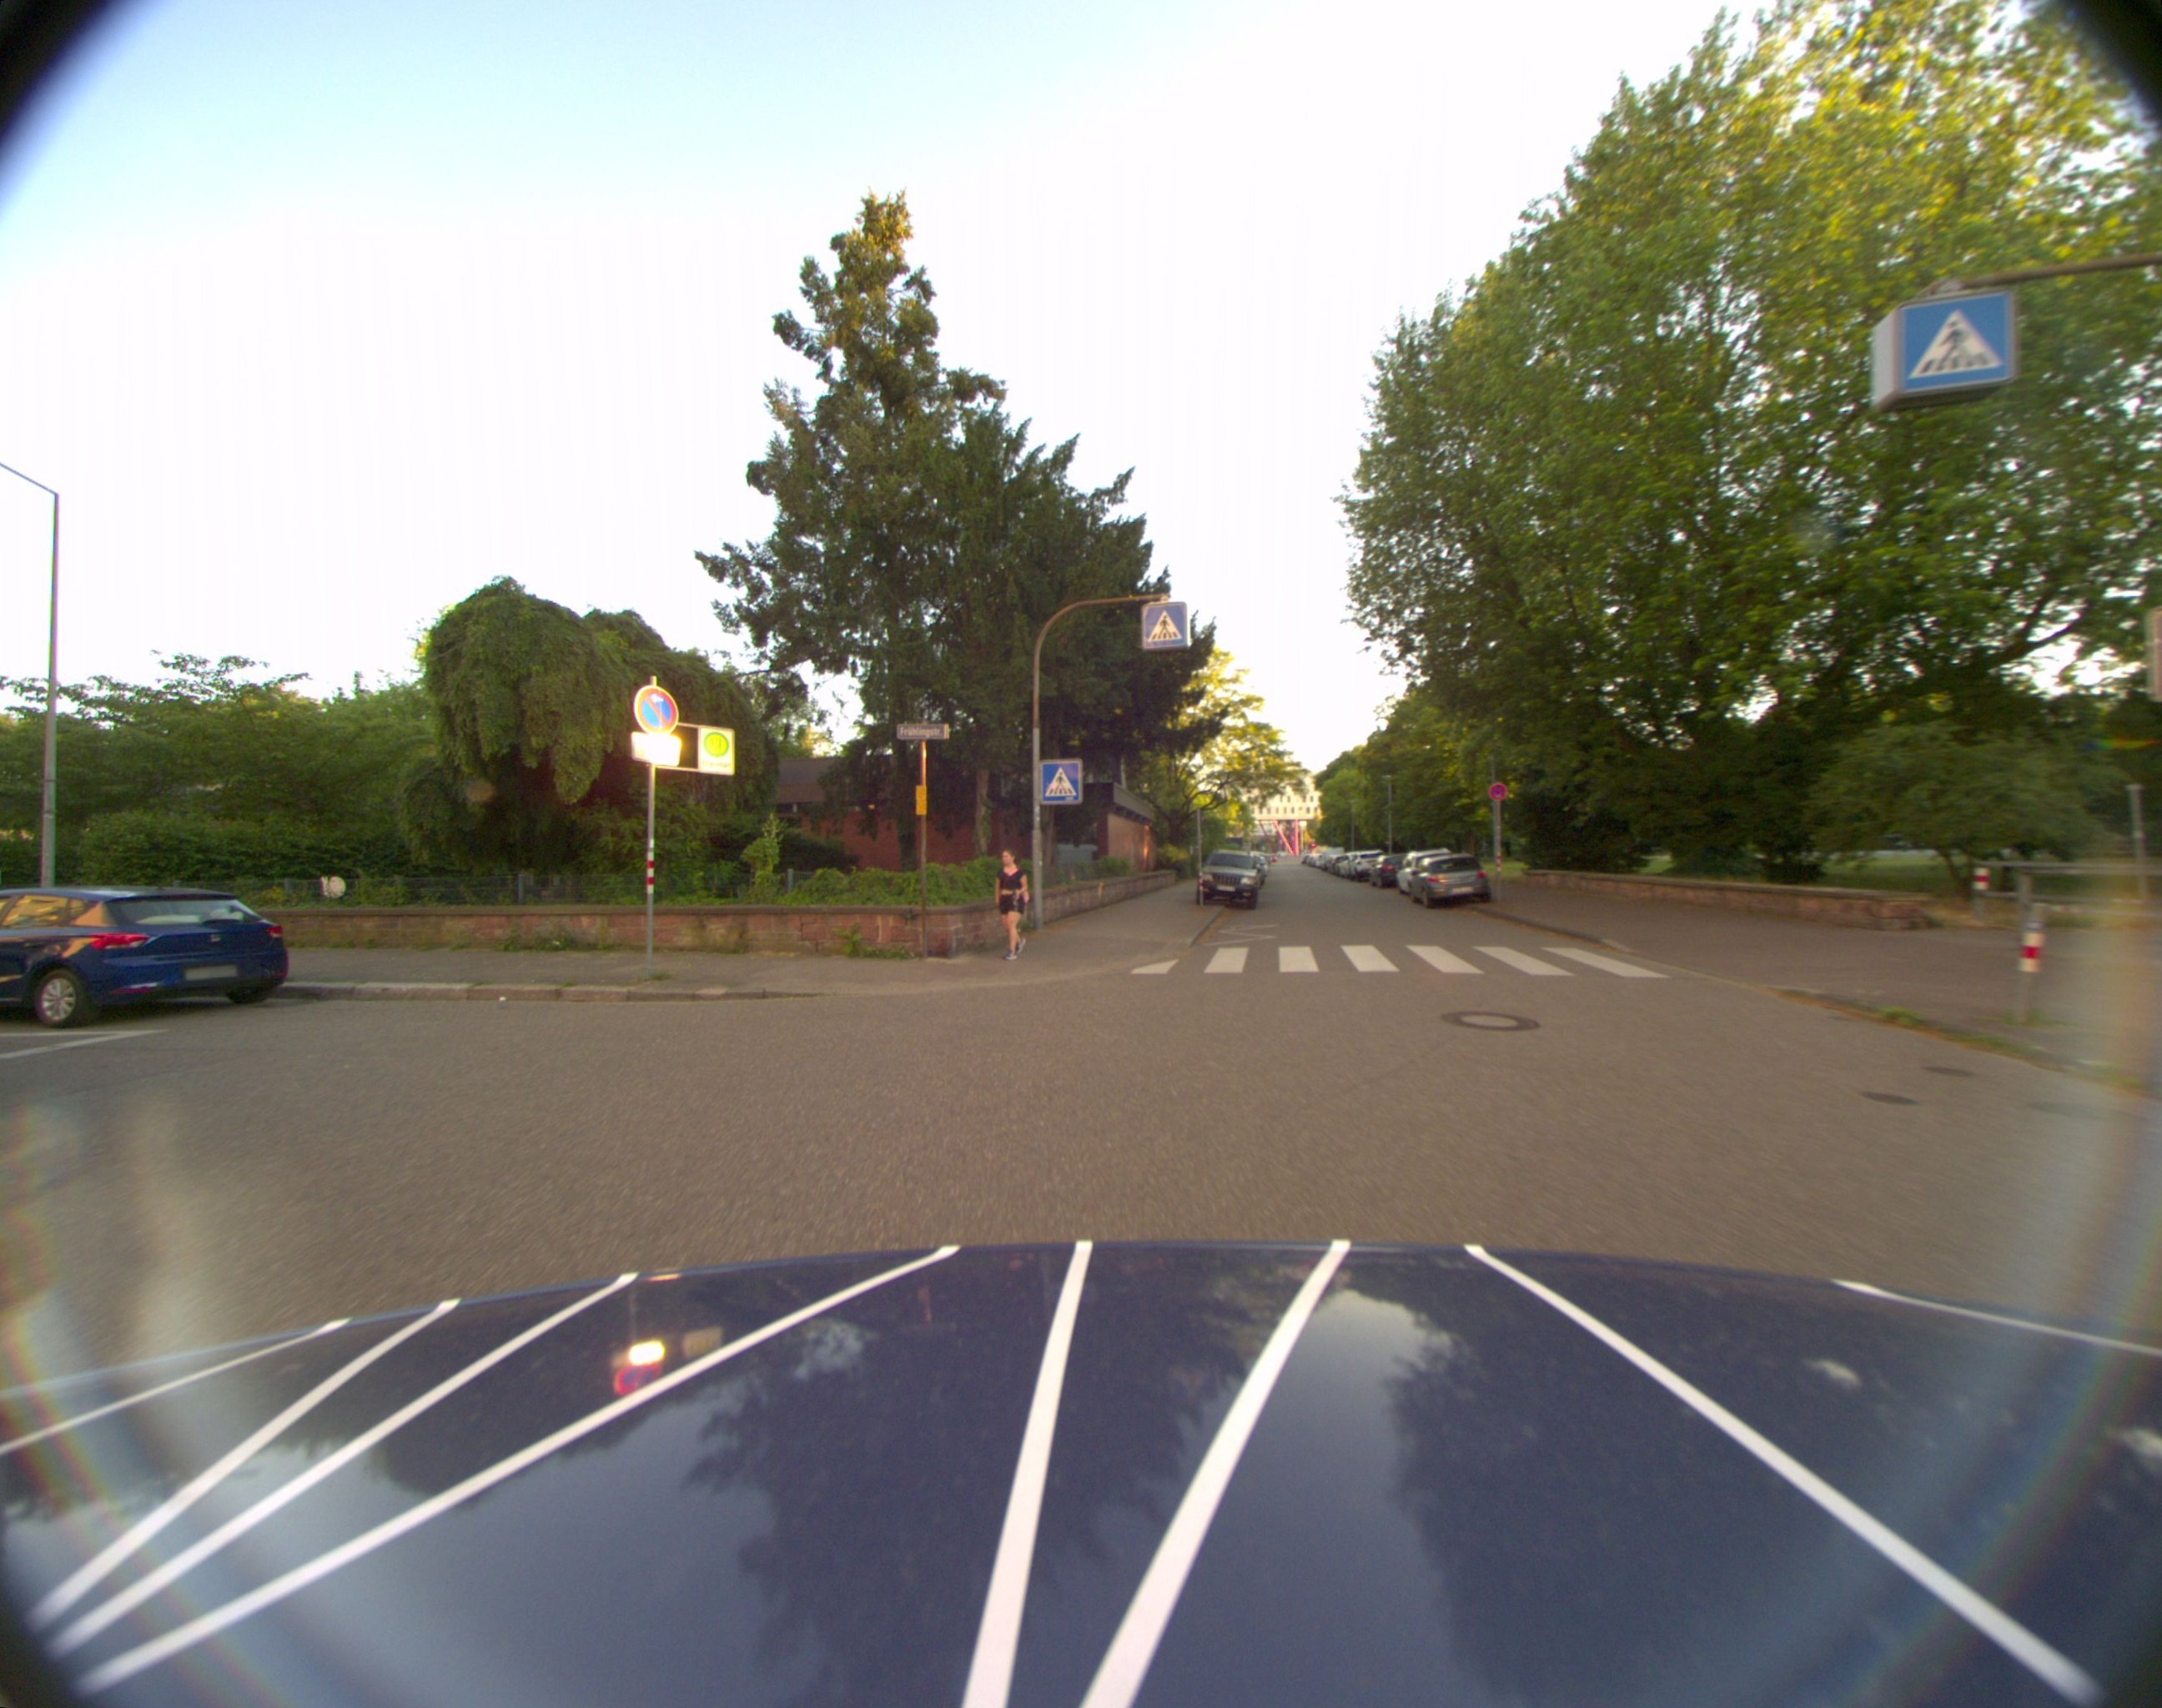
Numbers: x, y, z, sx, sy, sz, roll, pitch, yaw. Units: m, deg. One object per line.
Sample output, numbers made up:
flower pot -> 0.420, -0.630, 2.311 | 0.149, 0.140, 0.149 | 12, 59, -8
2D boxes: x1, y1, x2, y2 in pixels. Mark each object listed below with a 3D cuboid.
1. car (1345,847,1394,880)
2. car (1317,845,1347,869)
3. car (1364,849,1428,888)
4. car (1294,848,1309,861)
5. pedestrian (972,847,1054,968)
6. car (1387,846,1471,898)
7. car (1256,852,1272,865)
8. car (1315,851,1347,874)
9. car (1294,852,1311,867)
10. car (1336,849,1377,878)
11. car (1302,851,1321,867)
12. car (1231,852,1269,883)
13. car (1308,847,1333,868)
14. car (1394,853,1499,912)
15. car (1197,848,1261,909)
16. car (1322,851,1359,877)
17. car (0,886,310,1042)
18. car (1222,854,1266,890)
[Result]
car -> 15.870, 0.505, 42.010 | 1.785, 1.562, 3.888 | -6, -1, 12
car -> 22.313, 0.254, 67.757 | 1.963, 1.825, 3.888 | -6, -1, 12
car -> 13.936, 0.626, 33.846 | 1.785, 1.467, 3.888 | -6, -1, 12
car -> 34.772, 0.057, 119.884 | 1.785, 1.772, 4.016 | -6, -1, 11
pedestrian -> -1.031, 0.784, 11.626 | 0.859, 1.716, 0.826 | 4, 2, 26
car -> 12.397, 0.623, 27.336 | 1.785, 1.568, 3.888 | -6, -1, 12
car -> 26.635, 0.662, 110.624 | 1.997, 1.739, 4.004 | -2, 0, 12
car -> 19.148, 0.651, 58.399 | 1.785, 1.562, 3.888 | -6, -1, 12
car -> 30.131, 0.711, 103.311 | 1.785, 1.772, 4.016 | -6, -1, 12
car -> 17.355, 0.584, 48.025 | 1.785, 1.562, 3.888 | -6, -1, 12
car -> 28.278, 0.570, 93.346 | 1.785, 1.784, 3.888 | -6, -1, 12
car -> 8.976, 0.670, 40.553 | 1.784, 1.491, 3.888 | 3, 1, 12
car -> 24.646, 0.356, 78.293 | 1.785, 2.024, 3.888 | -6, -1, 12
car -> 10.771, 0.792, 22.686 | 1.785, 1.442, 3.888 | -6, -1, 12
car -> 4.707, 0.713, 24.039 | 1.784, 1.743, 3.888 | 1, 0, 12
car -> 18.025, 0.674, 52.897 | 1.785, 1.562, 3.888 | -6, -1, 12
car -> -11.293, 1.148, 8.504 | 3.785, 1.476, 1.725 | -1, 0, 6
car -> 7.548, 0.780, 35.297 | 1.784, 1.491, 3.888 | 3, 1, 12
